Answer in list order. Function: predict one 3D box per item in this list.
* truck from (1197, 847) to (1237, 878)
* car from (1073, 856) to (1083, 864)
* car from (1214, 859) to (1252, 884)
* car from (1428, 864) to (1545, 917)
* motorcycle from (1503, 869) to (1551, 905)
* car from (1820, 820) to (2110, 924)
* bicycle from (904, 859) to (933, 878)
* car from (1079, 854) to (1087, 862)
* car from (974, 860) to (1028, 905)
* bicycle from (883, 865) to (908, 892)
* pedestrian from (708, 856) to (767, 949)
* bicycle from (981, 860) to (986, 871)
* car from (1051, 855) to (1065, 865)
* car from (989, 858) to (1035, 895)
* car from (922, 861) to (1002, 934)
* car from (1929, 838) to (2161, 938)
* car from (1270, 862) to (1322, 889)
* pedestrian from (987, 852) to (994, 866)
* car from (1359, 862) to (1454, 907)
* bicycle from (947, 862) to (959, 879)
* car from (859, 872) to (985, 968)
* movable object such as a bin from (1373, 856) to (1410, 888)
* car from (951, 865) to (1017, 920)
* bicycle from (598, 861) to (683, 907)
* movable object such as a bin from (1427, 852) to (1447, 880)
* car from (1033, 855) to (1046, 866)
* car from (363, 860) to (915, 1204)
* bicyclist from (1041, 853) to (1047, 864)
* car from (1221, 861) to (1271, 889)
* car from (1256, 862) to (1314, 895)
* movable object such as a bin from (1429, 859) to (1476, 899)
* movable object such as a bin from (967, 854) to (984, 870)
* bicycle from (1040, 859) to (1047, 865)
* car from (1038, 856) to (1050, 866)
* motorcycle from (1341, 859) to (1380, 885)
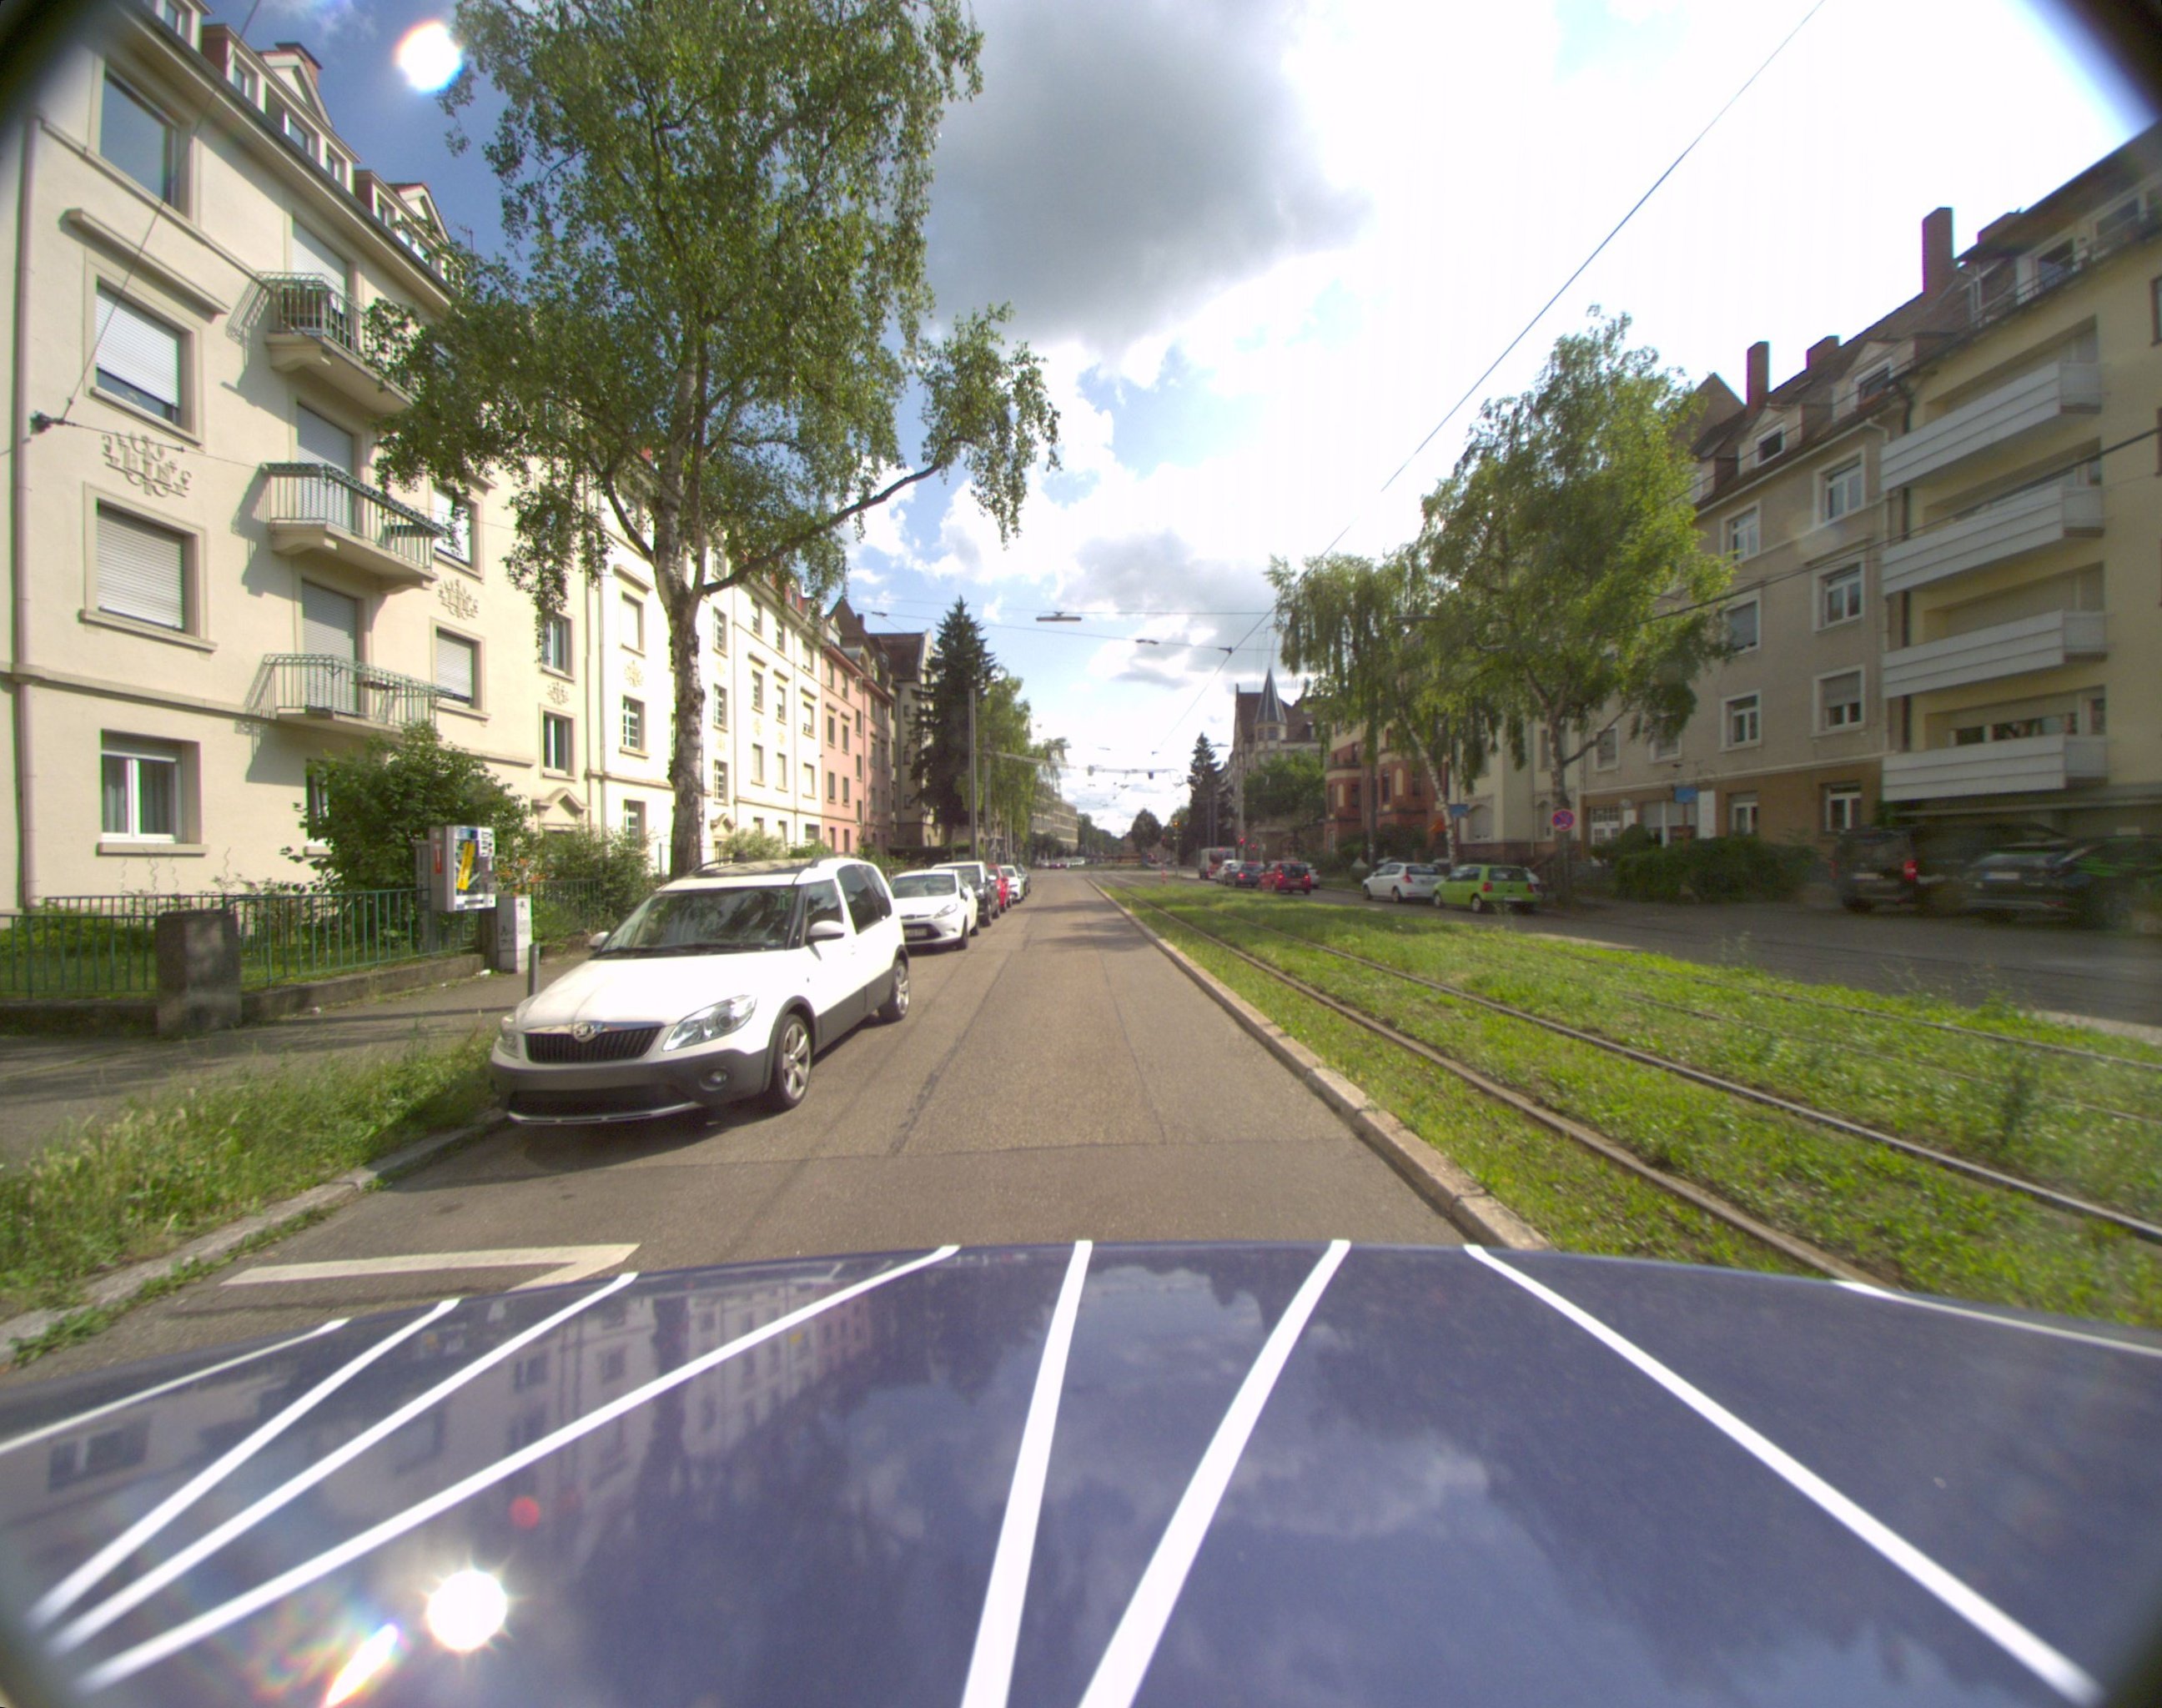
[{"bbox_3d":[10.149,0.585,57.247,2.190,2.201,6.614,0,0,4],"label":"truck"},{"bbox_3d":[-0.527,1.108,150.257,1.738,1.570,4.001,0,0,3],"label":"car"},{"bbox_3d":[9.481,1.079,47.711,1.759,1.406,4.134,1,0,3],"label":"car"},{"bbox_3d":[12.080,1.026,22.900,1.598,1.423,3.614,0,0,0],"label":"car"},{"bbox_3d":[14.276,1.033,24.358,0.500,1.037,1.632,-4,1,-1],"label":"motorcycle"},{"bbox_3d":[19.365,0.386,16.814,3.996,2.002,1.937,-2,0,3],"label":"car"},{"bbox_3d":[-10.723,0.948,50.132,1.777,1.213,0.421,-1,0,-2],"label":"bicycle"},{"bbox_3d":[0.420,0.901,165.338,1.645,1.610,3.713,0,0,3],"label":"car"},{"bbox_3d":[-2.987,1.021,29.089,1.624,1.444,3.918,-4,0,-1],"label":"car"},{"bbox_3d":[-7.852,1.015,32.225,0.472,1.071,2.183,0,0,1],"label":"bicycle"},{"bbox_3d":[-6.371,0.877,14.107,0.731,1.673,0.691,1,0,2],"label":"pedestrian"},{"bbox_3d":[-9.237,1.054,72.018,0.350,1.016,1.481,2,0,-2],"label":"bicycle"},{"bbox_3d":[-3.423,0.872,115.183,1.740,1.313,4.001,-2,0,3],"label":"car"},{"bbox_3d":[-3.172,0.985,35.770,1.796,1.512,4.526,-3,0,-1],"label":"car"},{"bbox_3d":[-2.936,1.027,19.377,1.497,1.570,3.758,-3,0,-2],"label":"car"},{"bbox_3d":[18.879,0.577,14.138,3.997,1.593,1.973,-2,0,-1],"label":"car"},{"bbox_3d":[11.604,1.114,41.318,1.759,1.348,3.995,0,0,1],"label":"car"},{"bbox_3d":[-11.937,0.685,100.071,0.737,1.832,0.806,-1,1,-16],"label":"pedestrian"},{"bbox_3d":[11.876,1.070,28.000,1.649,1.469,4.225,1,0,0],"label":"car"},{"bbox_3d":[-8.111,1.024,48.261,0.421,1.046,1.778,0,0,0],"label":"bicycle"},{"bbox_3d":[-2.861,1.133,14.459,1.677,1.408,3.794,-3,0,-2],"label":"car"},{"bbox_3d":[14.571,0.829,35.667,0.953,1.359,1.521,-6,0,-1],"label":"movable object such as a bin"},{"bbox_3d":[-3.037,1.165,24.486,1.593,1.444,3.844,-4,0,-1],"label":"car"},{"bbox_3d":[-12.454,0.847,21.521,1.978,1.244,0.672,-1,0,-2],"label":"bicycle"},{"bbox_3d":[17.580,0.599,37.529,0.675,1.354,0.699,-1,0,-4],"label":"movable object such as a bin"},{"bbox_3d":[-6.826,1.028,124.538,1.999,1.730,3.999,0,0,-2],"label":"car"},{"bbox_3d":[-2.682,0.927,5.846,1.725,1.620,4.000,-3,0,2],"label":"car"},{"bbox_3d":[-5.276,0.638,108.066,0.665,1.679,0.857,0,0,5],"label":"bicyclist"},{"bbox_3d":[8.936,1.083,41.495,1.759,1.348,4.512,1,0,1],"label":"car"},{"bbox_3d":[9.090,1.052,34.152,1.583,1.378,3.692,0,0,0],"label":"car"},{"bbox_3d":[14.232,0.946,29.152,0.953,1.421,1.521,-3,0,-1],"label":"movable object such as a bin"},{"bbox_3d":[-9.870,0.756,71.151,1.305,1.483,2.000,0,0,0],"label":"movable object such as a bin"},{"bbox_3d":[-5.294,1.152,107.979,0.771,0.885,1.892,0,0,5],"label":"bicycle"},{"bbox_3d":[-6.439,1.149,132.874,1.836,1.674,3.999,0,0,-1],"label":"car"},{"bbox_3d":[14.130,0.896,38.469,0.903,1.235,2.293,-1,0,-7],"label":"motorcycle"}]
